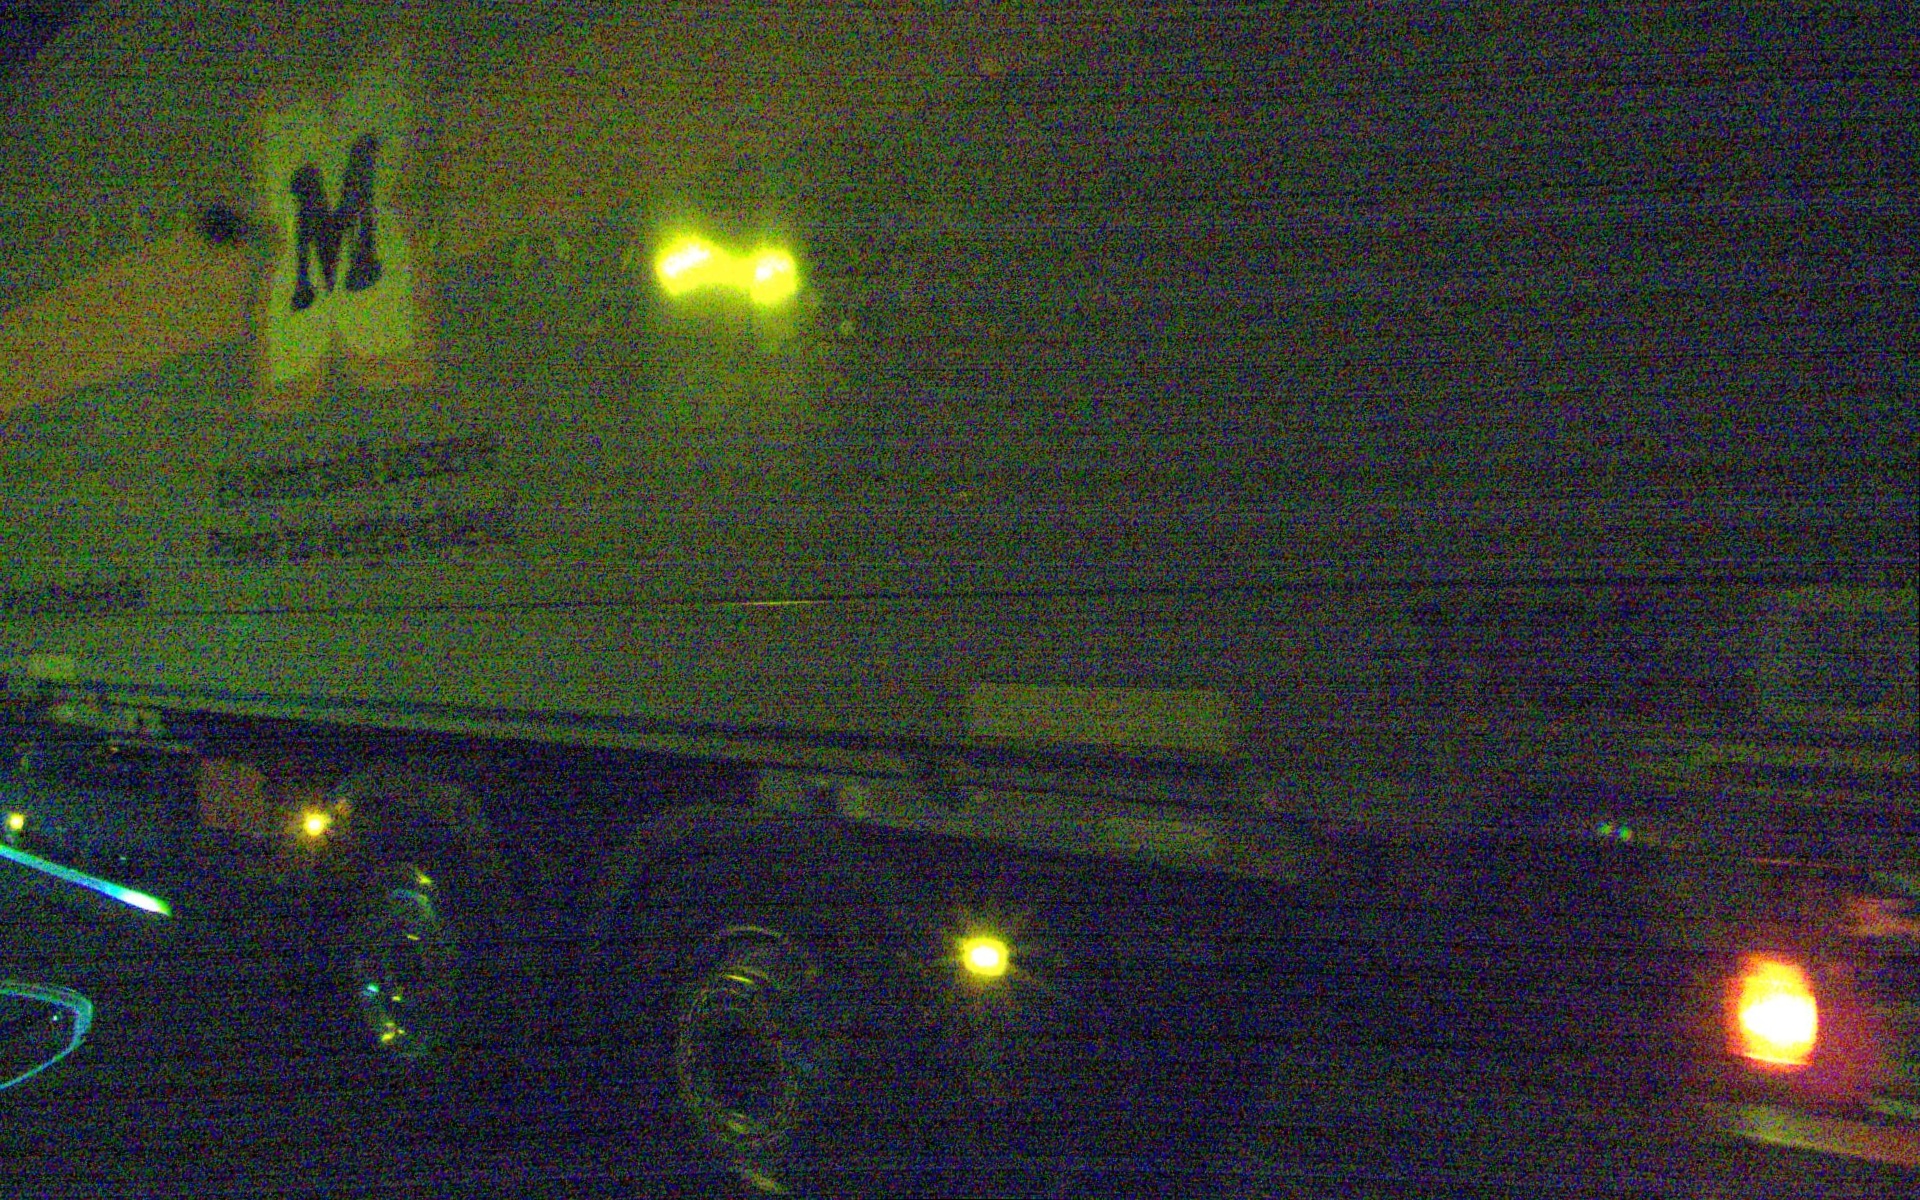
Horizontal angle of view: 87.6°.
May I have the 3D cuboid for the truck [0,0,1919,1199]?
[{"bbox_3d":[-2.121,-0.412,4.635,9.769,3.965,2.882,-1,0,33],"label":"truck"}]
